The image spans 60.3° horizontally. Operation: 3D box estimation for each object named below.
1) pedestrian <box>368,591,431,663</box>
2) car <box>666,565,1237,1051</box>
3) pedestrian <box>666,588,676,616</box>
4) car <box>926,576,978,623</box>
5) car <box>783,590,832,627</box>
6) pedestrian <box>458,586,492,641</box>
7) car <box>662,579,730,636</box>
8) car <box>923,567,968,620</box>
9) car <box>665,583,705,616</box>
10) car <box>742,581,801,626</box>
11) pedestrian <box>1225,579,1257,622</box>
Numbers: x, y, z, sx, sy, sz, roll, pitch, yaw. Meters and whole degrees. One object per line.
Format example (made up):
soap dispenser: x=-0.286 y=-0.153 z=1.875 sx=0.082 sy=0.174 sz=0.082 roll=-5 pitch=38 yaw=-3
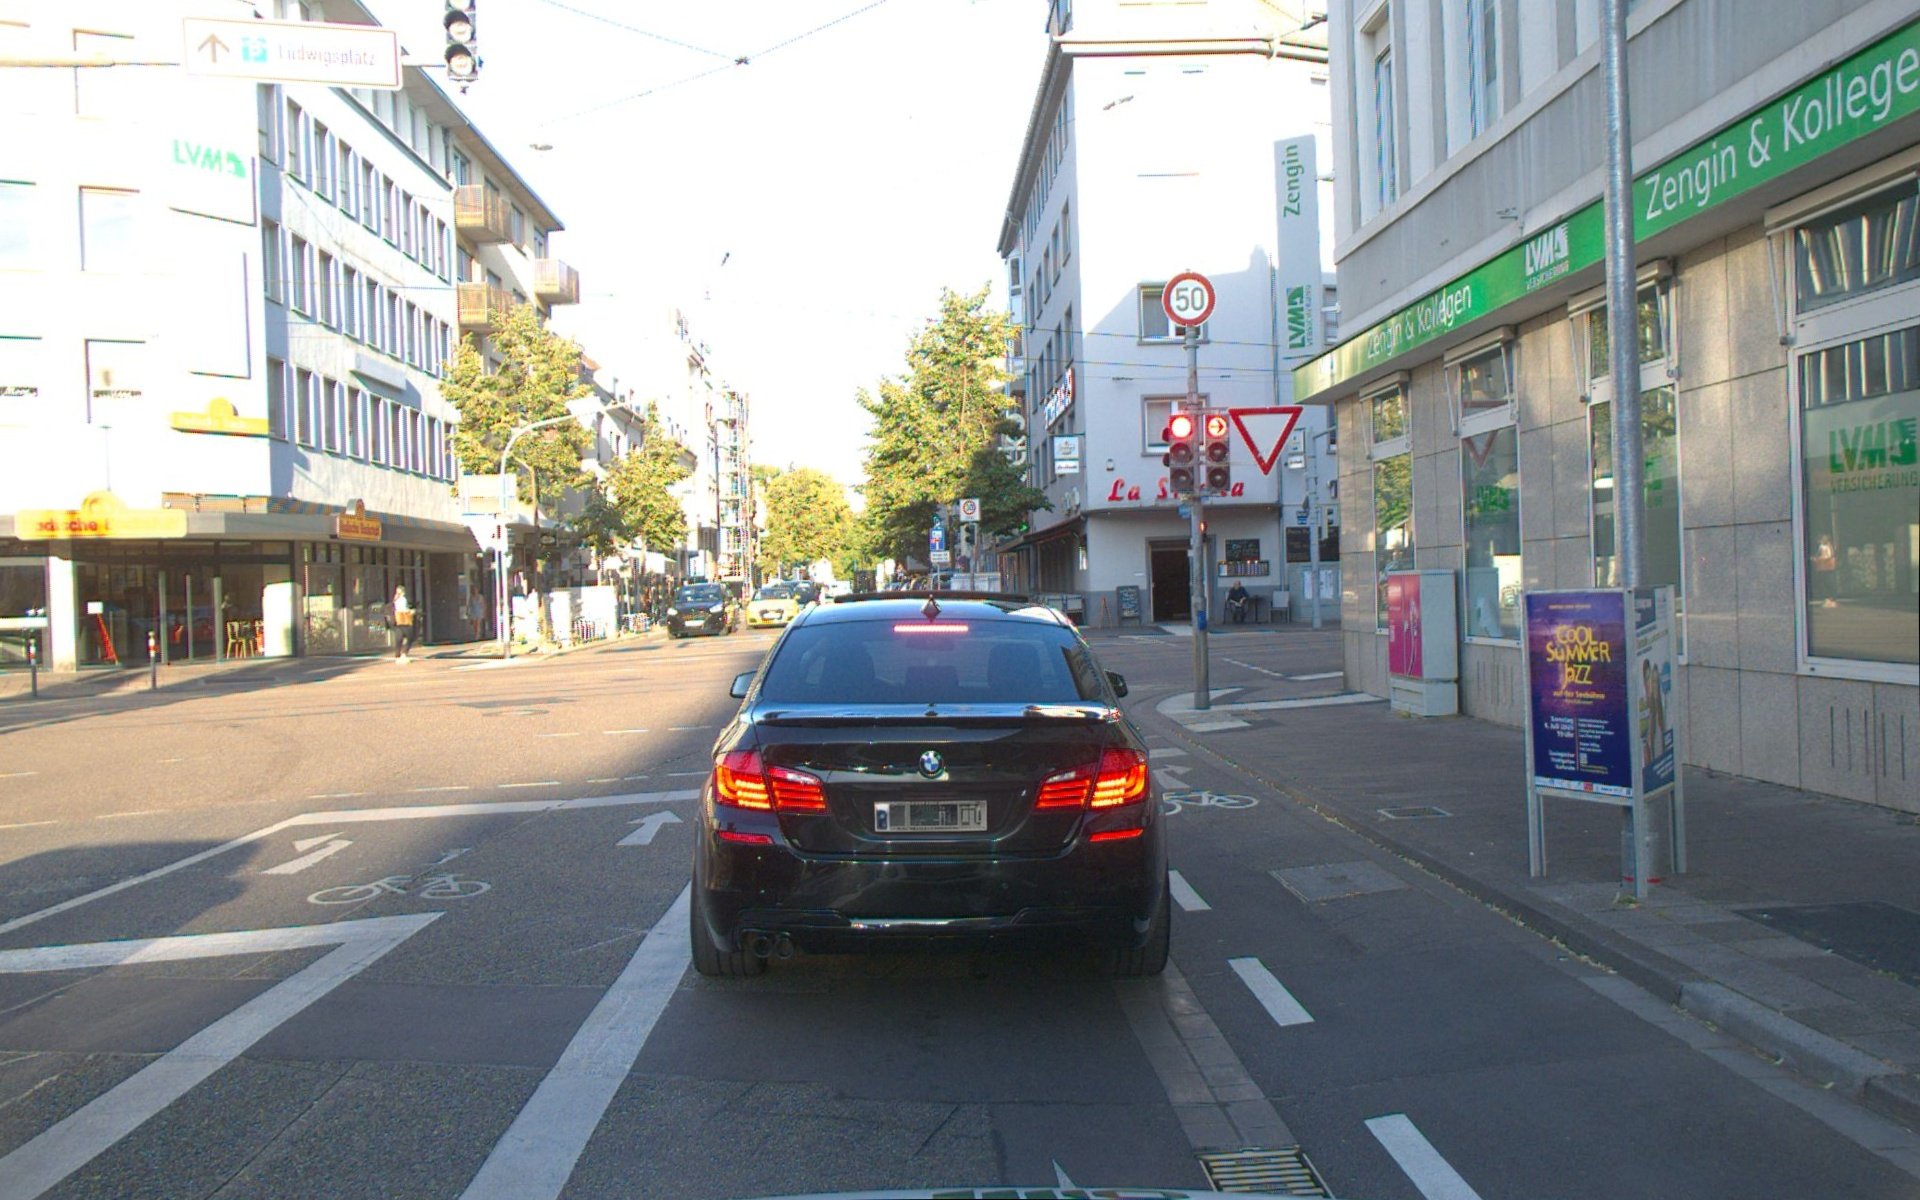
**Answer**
pedestrian: x=-12.528 y=0.602 z=36.964 sx=0.890 sy=1.564 sz=0.946 roll=-2 pitch=0 yaw=33
car: x=-0.133 y=0.644 z=7.632 sx=1.865 sy=1.567 sz=4.447 roll=0 pitch=1 yaw=-3
pedestrian: x=-15.361 y=0.094 z=87.826 sx=0.435 sy=1.441 sz=0.525 roll=-2 pitch=0 yaw=-4
car: x=-0.287 y=-0.013 z=54.584 sx=1.593 sy=1.497 sz=3.393 roll=-1 pitch=0 yaw=-3
car: x=-5.953 y=0.314 z=64.338 sx=1.701 sy=1.315 sz=3.993 roll=-2 pitch=1 yaw=-8
pedestrian: x=-15.266 y=0.419 z=52.082 sx=0.807 sy=1.705 sz=0.871 roll=-2 pitch=0 yaw=-3
car: x=-8.282 y=0.219 z=52.099 sx=1.956 sy=1.646 sz=3.993 roll=-2 pitch=1 yaw=-8
car: x=-0.553 y=-0.234 z=60.980 sx=1.393 sy=1.887 sz=3.049 roll=-1 pitch=0 yaw=-5
car: x=-13.085 y=-0.022 z=78.808 sx=1.701 sy=1.487 sz=3.993 roll=-2 pitch=1 yaw=-8
car: x=-6.590 y=0.105 z=57.561 sx=1.956 sy=1.467 sz=3.993 roll=-2 pitch=1 yaw=-8
pedestrian: x=7.878 y=0.012 z=46.430 sx=0.683 sy=1.177 sz=0.843 roll=-2 pitch=0 yaw=-4
